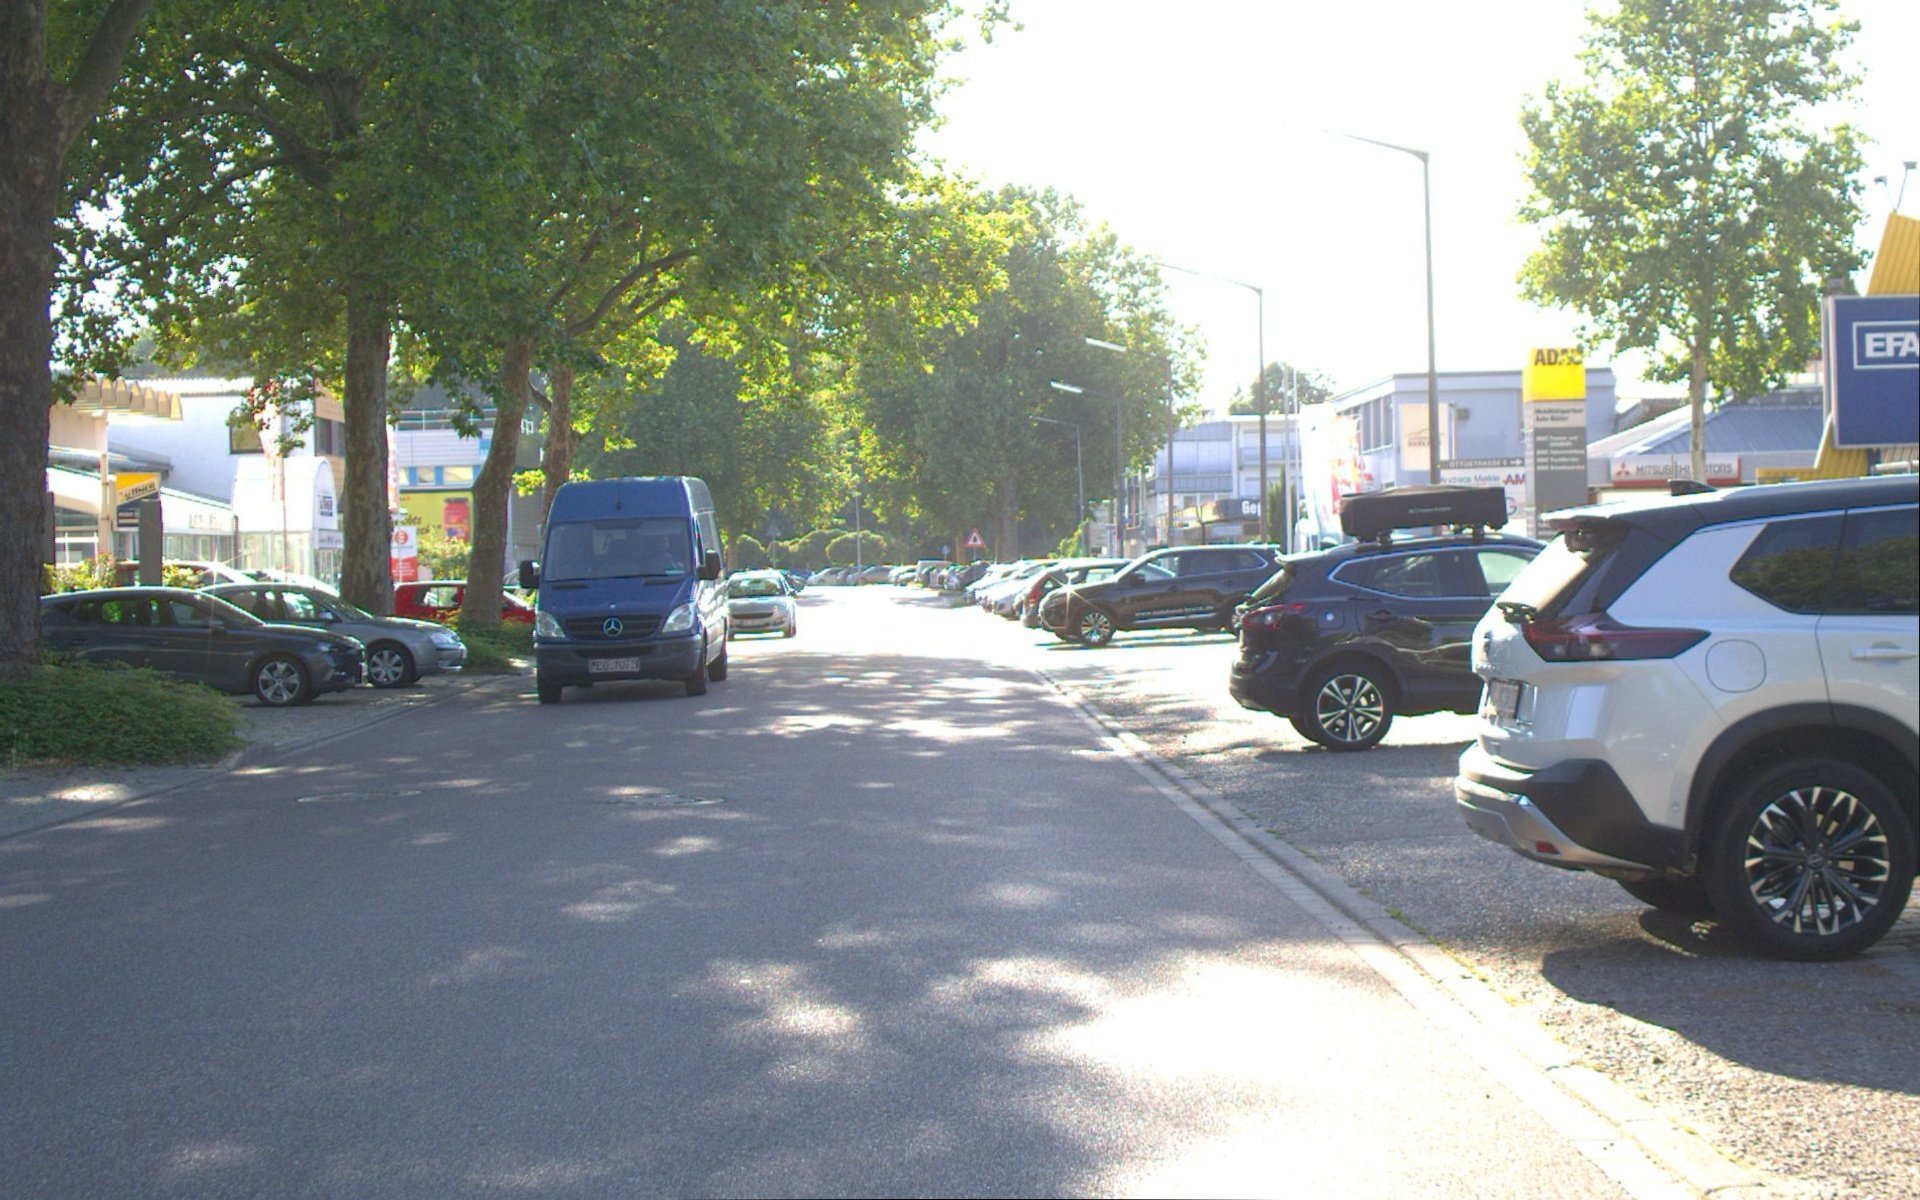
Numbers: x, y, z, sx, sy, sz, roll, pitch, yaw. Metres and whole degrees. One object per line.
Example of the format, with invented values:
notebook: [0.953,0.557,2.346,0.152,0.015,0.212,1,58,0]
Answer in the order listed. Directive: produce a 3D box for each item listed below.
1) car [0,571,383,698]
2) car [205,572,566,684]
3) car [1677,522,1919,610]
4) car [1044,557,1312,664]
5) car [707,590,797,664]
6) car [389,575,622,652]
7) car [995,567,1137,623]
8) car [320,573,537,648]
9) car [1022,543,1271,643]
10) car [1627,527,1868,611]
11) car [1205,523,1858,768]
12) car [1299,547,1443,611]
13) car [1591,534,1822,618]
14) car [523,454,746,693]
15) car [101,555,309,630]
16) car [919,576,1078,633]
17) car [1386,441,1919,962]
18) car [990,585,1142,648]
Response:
car: [-9.235,0.396,41.196,4.353,1.417,2.000,-1,1,-3]
car: [-7.773,0.367,46.832,4.599,1.417,2.000,-1,1,-1]
car: [14.941,-0.590,60.814,3.986,1.492,2.000,0,0,-5]
car: [3.856,0.193,61.466,4.601,1.574,2.000,-4,0,1]
car: [-4.739,0.614,78.612,1.838,1.565,3.802,-3,0,-1]
car: [-8.830,0.262,67.076,4.296,1.441,2.000,1,0,-1]
car: [3.602,-0.162,117.436,4.554,1.592,2.202,-4,0,-3]
car: [-13.681,0.274,88.721,5.259,1.892,2.202,0,0,-1]
car: [3.602,-0.124,67.014,4.600,1.608,2.000,-4,0,-1]
car: [14.713,-0.563,64.386,3.986,1.514,1.953,0,0,-5]
car: [4.380,0.338,26.856,4.624,1.521,2.000,-4,0,-2]
car: [12.725,-0.651,106.652,4.144,1.765,2.000,-3,0,-1]
car: [14.542,-0.459,67.109,3.986,1.590,2.000,0,0,-5]
car: [-3.903,-0.361,42.431,2.127,2.650,7.002,-1,1,-1]
car: [-18.710,-0.176,85.319,4.745,1.813,2.000,0,0,-2]
car: [0.998,0.112,87.634,3.987,1.292,1.784,-2,0,2]
car: [4.127,0.244,13.014,4.624,1.706,2.000,-4,0,-2]
car: [2.931,0.465,95.855,3.986,1.582,1.868,-2,0,-4]
